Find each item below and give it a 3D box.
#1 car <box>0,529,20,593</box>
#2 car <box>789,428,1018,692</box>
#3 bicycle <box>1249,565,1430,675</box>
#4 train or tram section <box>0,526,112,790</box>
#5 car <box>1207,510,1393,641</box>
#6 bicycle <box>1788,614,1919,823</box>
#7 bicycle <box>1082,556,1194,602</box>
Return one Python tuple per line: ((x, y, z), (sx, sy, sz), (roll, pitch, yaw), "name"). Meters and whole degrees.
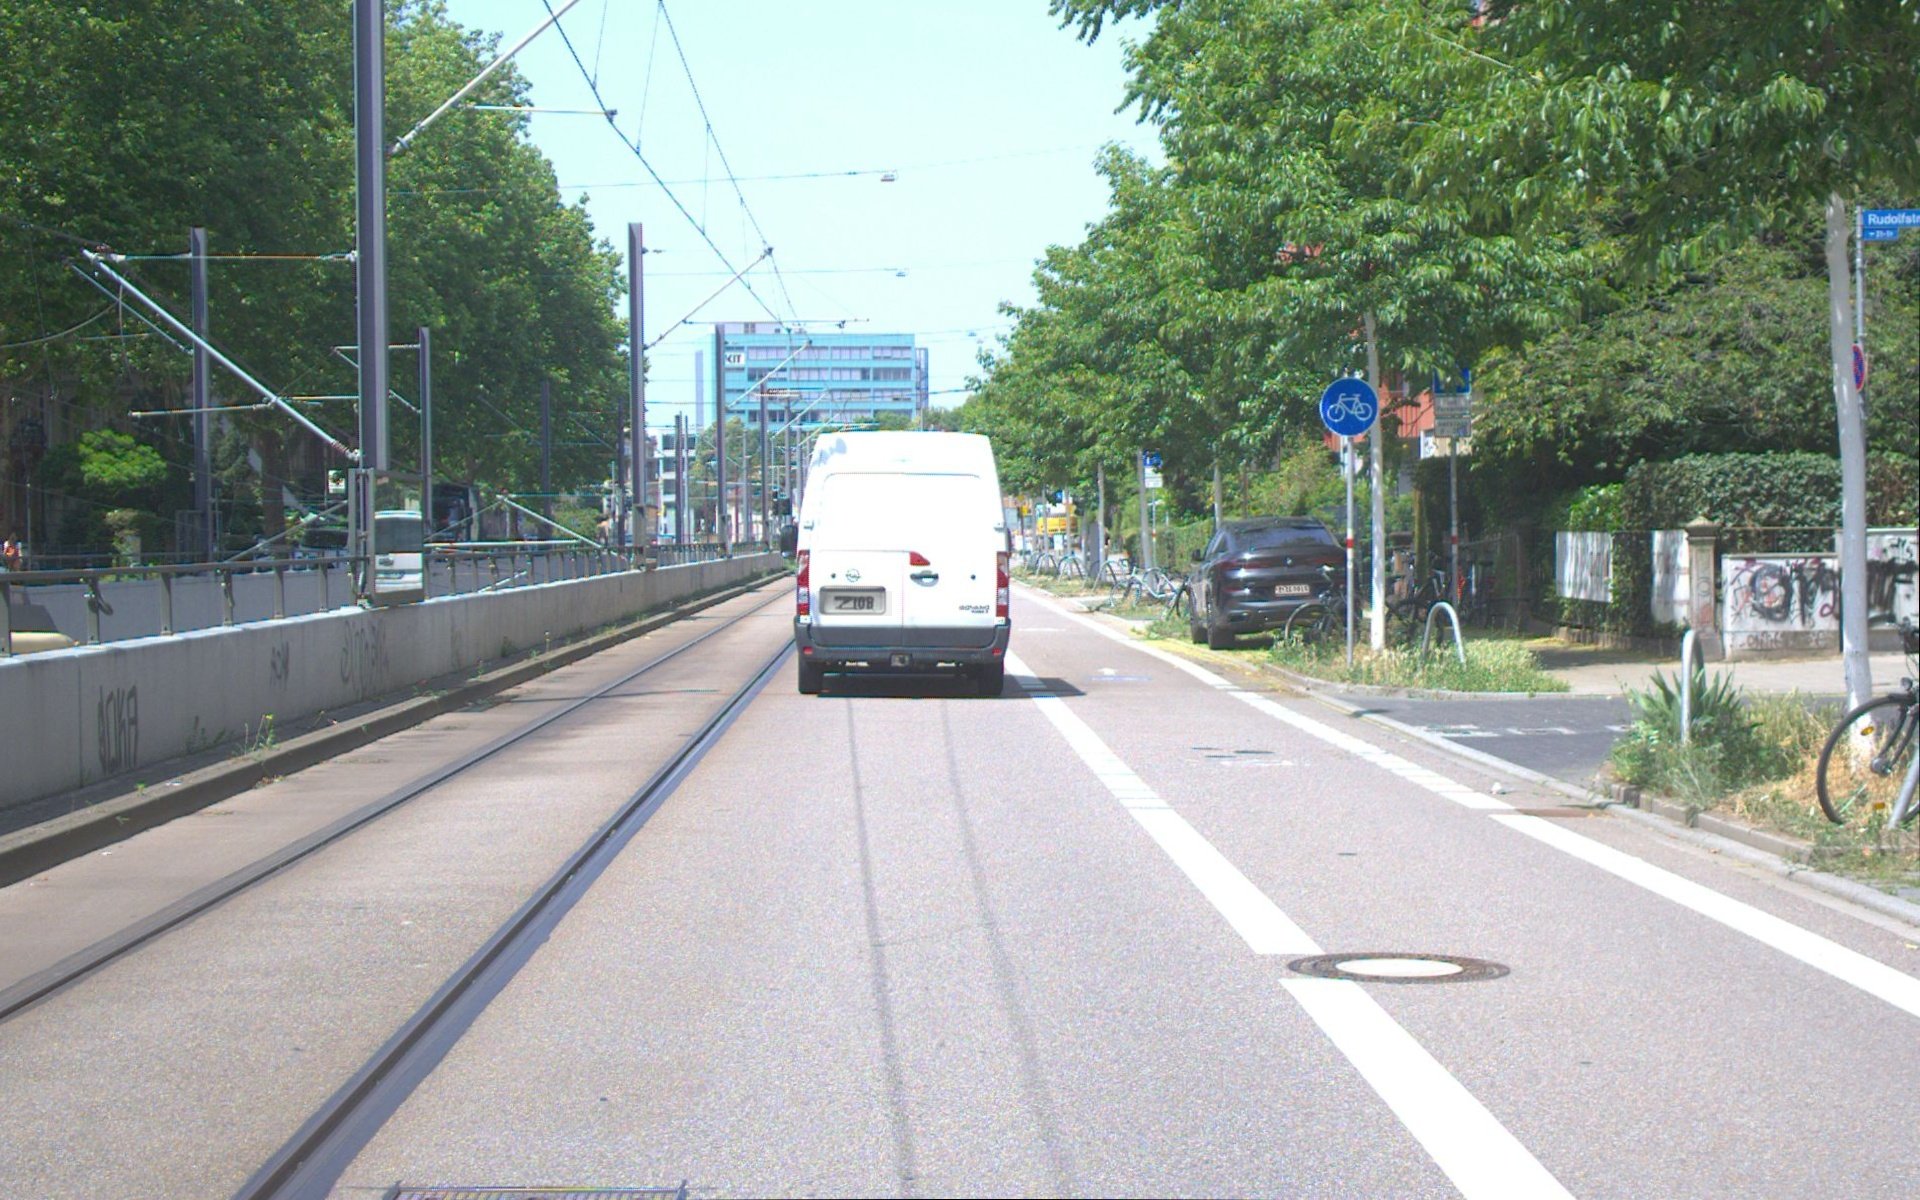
((-26.365, -1.034, 90.920), (1.993, 1.678, 4.000), (0, 1, -1), "car")
((-0.631, -0.426, 34.443), (2.117, 2.450, 5.055), (0, 1, -2), "car")
((4.146, 0.212, 37.632), (1.887, 1.178, 0.640), (0, 1, -2), "bicycle")
((-10.421, 0.561, 31.760), (2.729, 2.500, 10.090), (0, 1, 0), "train or tram section")
((4.490, -0.358, 45.959), (2.157, 1.664, 4.000), (0, 1, 1), "car")
((4.875, 0.545, 16.163), (1.842, 0.950, 0.503), (0, 1, 1), "bicycle")
((3.457, -0.417, 66.148), (1.560, 0.823, 3.998), (0, 1, 12), "bicycle")
